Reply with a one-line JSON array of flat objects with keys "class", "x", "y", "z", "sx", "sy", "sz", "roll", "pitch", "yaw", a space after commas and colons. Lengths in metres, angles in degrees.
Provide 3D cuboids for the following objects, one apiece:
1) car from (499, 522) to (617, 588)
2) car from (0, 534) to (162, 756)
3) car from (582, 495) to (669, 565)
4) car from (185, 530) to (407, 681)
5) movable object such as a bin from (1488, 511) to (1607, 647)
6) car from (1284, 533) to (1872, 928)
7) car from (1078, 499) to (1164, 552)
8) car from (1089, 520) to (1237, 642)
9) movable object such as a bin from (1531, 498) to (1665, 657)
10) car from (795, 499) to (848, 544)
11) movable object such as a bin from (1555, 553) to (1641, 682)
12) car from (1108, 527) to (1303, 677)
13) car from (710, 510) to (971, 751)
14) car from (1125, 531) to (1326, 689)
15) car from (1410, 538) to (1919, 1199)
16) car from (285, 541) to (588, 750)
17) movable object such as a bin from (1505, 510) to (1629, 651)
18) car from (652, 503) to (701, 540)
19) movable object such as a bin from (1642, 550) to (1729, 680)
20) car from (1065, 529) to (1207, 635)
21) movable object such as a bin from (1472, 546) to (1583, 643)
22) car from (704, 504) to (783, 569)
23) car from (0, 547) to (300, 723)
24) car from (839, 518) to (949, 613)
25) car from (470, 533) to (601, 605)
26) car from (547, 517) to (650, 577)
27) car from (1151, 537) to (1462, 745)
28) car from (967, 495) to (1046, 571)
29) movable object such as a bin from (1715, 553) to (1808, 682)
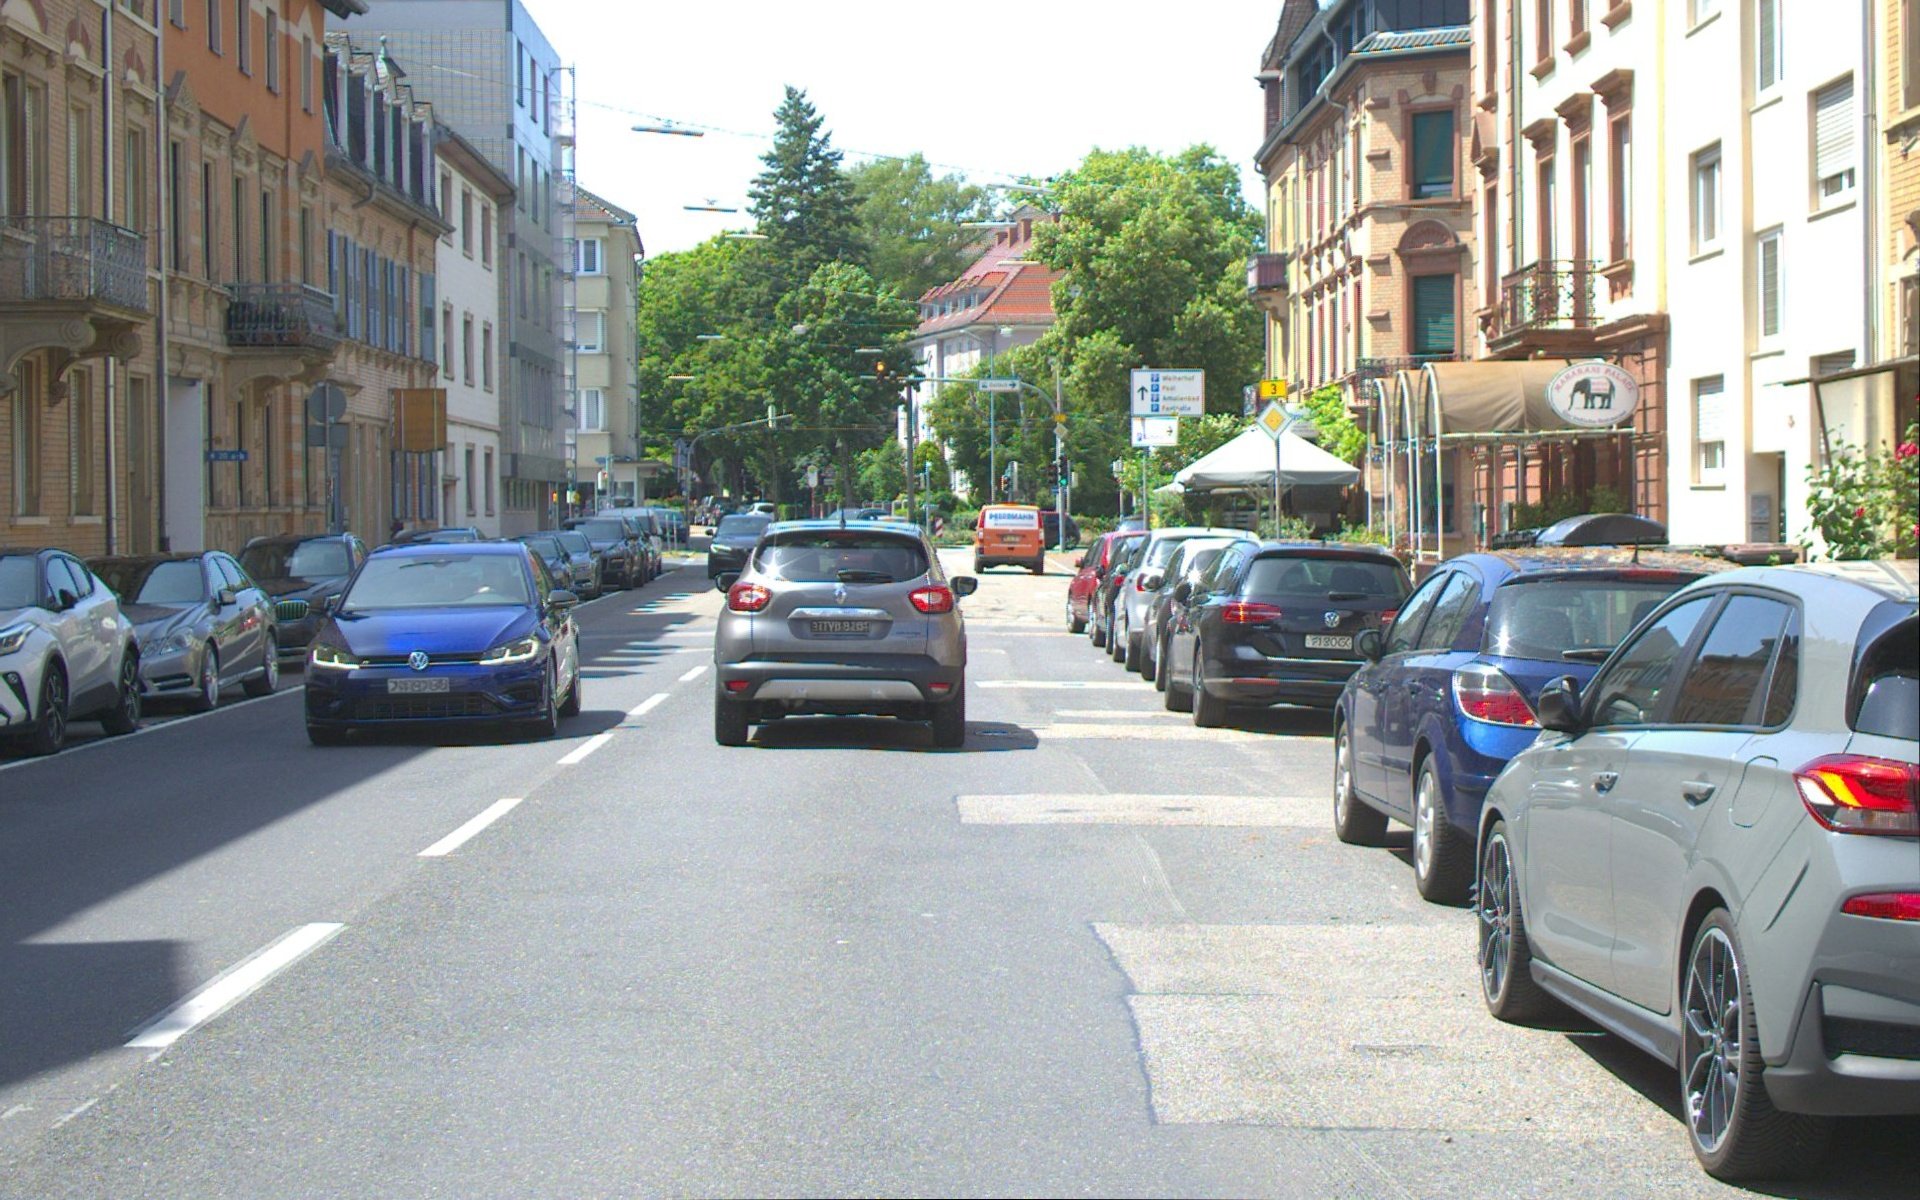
[{"class": "car", "x": -8.413, "y": -0.964, "z": 72.293, "sx": 1.905, "sy": 1.287, "sz": 4.303, "roll": -1, "pitch": 1, "yaw": 1}, {"class": "car", "x": -7.469, "y": 0.314, "z": 25.974, "sx": 1.904, "sy": 1.505, "sz": 4.303, "roll": -3, "pitch": 1, "yaw": -1}, {"class": "car", "x": -9.042, "y": -1.917, "z": 93.162, "sx": 1.904, "sy": 1.815, "sz": 4.303, "roll": -1, "pitch": 1, "yaw": 0}, {"class": "car", "x": -7.935, "y": 0.019, "z": 41.431, "sx": 1.904, "sy": 1.614, "sz": 4.303, "roll": -3, "pitch": 1, "yaw": -2}, {"class": "movable object such as a bin", "x": 6.156, "y": -0.235, "z": 36.103, "sx": 1.043, "sy": 1.397, "sz": 1.254, "roll": 0, "pitch": 1, "yaw": 1}, {"class": "car", "x": 2.632, "y": 0.466, "z": 15.728, "sx": 1.695, "sy": 1.482, "sz": 4.619, "roll": 1, "pitch": 2, "yaw": -2}, {"class": "car", "x": 4.864, "y": -2.255, "z": 103.578, "sx": 1.899, "sy": 1.503, "sz": 3.941, "roll": -1, "pitch": 2, "yaw": 13}, {"class": "car", "x": 2.518, "y": -0.274, "z": 43.209, "sx": 1.611, "sy": 1.456, "sz": 3.505, "roll": 0, "pitch": 1, "yaw": -1}, {"class": "movable object such as a bin", "x": 6.201, "y": -0.234, "z": 33.473, "sx": 1.043, "sy": 1.513, "sz": 1.446, "roll": 0, "pitch": 1, "yaw": 1}, {"class": "car", "x": -5.078, "y": -2.876, "z": 125.434, "sx": 1.790, "sy": 1.620, "sz": 3.744, "roll": -1, "pitch": 2, "yaw": -4}, {"class": "movable object such as a bin", "x": 5.961, "y": 0.159, "z": 32.149, "sx": 0.638, "sy": 1.173, "sz": 0.911, "roll": 0, "pitch": 1, "yaw": 1}, {"class": "car", "x": 2.702, "y": -0.022, "z": 38.585, "sx": 1.860, "sy": 1.548, "sz": 4.000, "roll": 1, "pitch": 2, "yaw": 0}, {"class": "car", "x": -0.857, "y": 0.155, "z": 25.164, "sx": 1.744, "sy": 1.611, "sz": 4.001, "roll": 0, "pitch": 1, "yaw": -1}, {"class": "car", "x": 2.597, "y": 0.056, "z": 34.432, "sx": 1.660, "sy": 1.436, "sz": 4.000, "roll": 0, "pitch": 2, "yaw": 0}, {"class": "car", "x": 2.562, "y": 0.609, "z": 9.353, "sx": 1.860, "sy": 1.482, "sz": 4.310, "roll": 1, "pitch": 2, "yaw": -3}, {"class": "car", "x": -3.872, "y": 0.282, "z": 26.030, "sx": 1.816, "sy": 1.384, "sz": 4.001, "roll": -2, "pitch": 1, "yaw": -2}, {"class": "movable object such as a bin", "x": 6.139, "y": -0.212, "z": 34.846, "sx": 1.043, "sy": 1.397, "sz": 1.254, "roll": 0, "pitch": 1, "yaw": 1}, {"class": "car", "x": -12.693, "y": -3.522, "z": 154.103, "sx": 1.790, "sy": 1.620, "sz": 3.743, "roll": -1, "pitch": 2, "yaw": 1}, {"class": "movable object such as a bin", "x": 6.772, "y": 0.133, "z": 32.132, "sx": 0.638, "sy": 1.182, "sz": 0.852, "roll": 0, "pitch": 1, "yaw": 1}, {"class": "car", "x": 2.476, "y": -0.284, "z": 48.920, "sx": 1.611, "sy": 1.438, "sz": 3.438, "roll": 0, "pitch": 1, "yaw": -4}, {"class": "movable object such as a bin", "x": 6.137, "y": -0.067, "z": 37.243, "sx": 1.043, "sy": 1.019, "sz": 0.991, "roll": 0, "pitch": 2, "yaw": 1}, {"class": "car", "x": -5.538, "y": -1.604, "z": 88.320, "sx": 1.939, "sy": 1.620, "sz": 4.000, "roll": 0, "pitch": 0, "yaw": -2}, {"class": "car", "x": -7.605, "y": 0.272, "z": 32.341, "sx": 1.904, "sy": 1.396, "sz": 4.755, "roll": -3, "pitch": 1, "yaw": -1}, {"class": "car", "x": -1.248, "y": -0.666, "z": 63.613, "sx": 1.812, "sy": 1.615, "sz": 4.442, "roll": -2, "pitch": 1, "yaw": -3}, {"class": "car", "x": -8.223, "y": -0.619, "z": 66.891, "sx": 1.905, "sy": 1.287, "sz": 4.302, "roll": -1, "pitch": 1, "yaw": 1}, {"class": "car", "x": -8.285, "y": -1.247, "z": 79.161, "sx": 1.904, "sy": 1.287, "sz": 4.303, "roll": -1, "pitch": 1, "yaw": 0}, {"class": "car", "x": 2.676, "y": 0.262, "z": 27.557, "sx": 1.860, "sy": 1.460, "sz": 4.619, "roll": 1, "pitch": 2, "yaw": -2}, {"class": "car", "x": 1.258, "y": -1.870, "z": 95.031, "sx": 1.993, "sy": 2.006, "sz": 4.467, "roll": -2, "pitch": 2, "yaw": -1}, {"class": "movable object such as a bin", "x": 7.486, "y": 0.159, "z": 32.130, "sx": 0.668, "sy": 1.173, "sz": 0.852, "roll": 0, "pitch": 1, "yaw": 1}]
